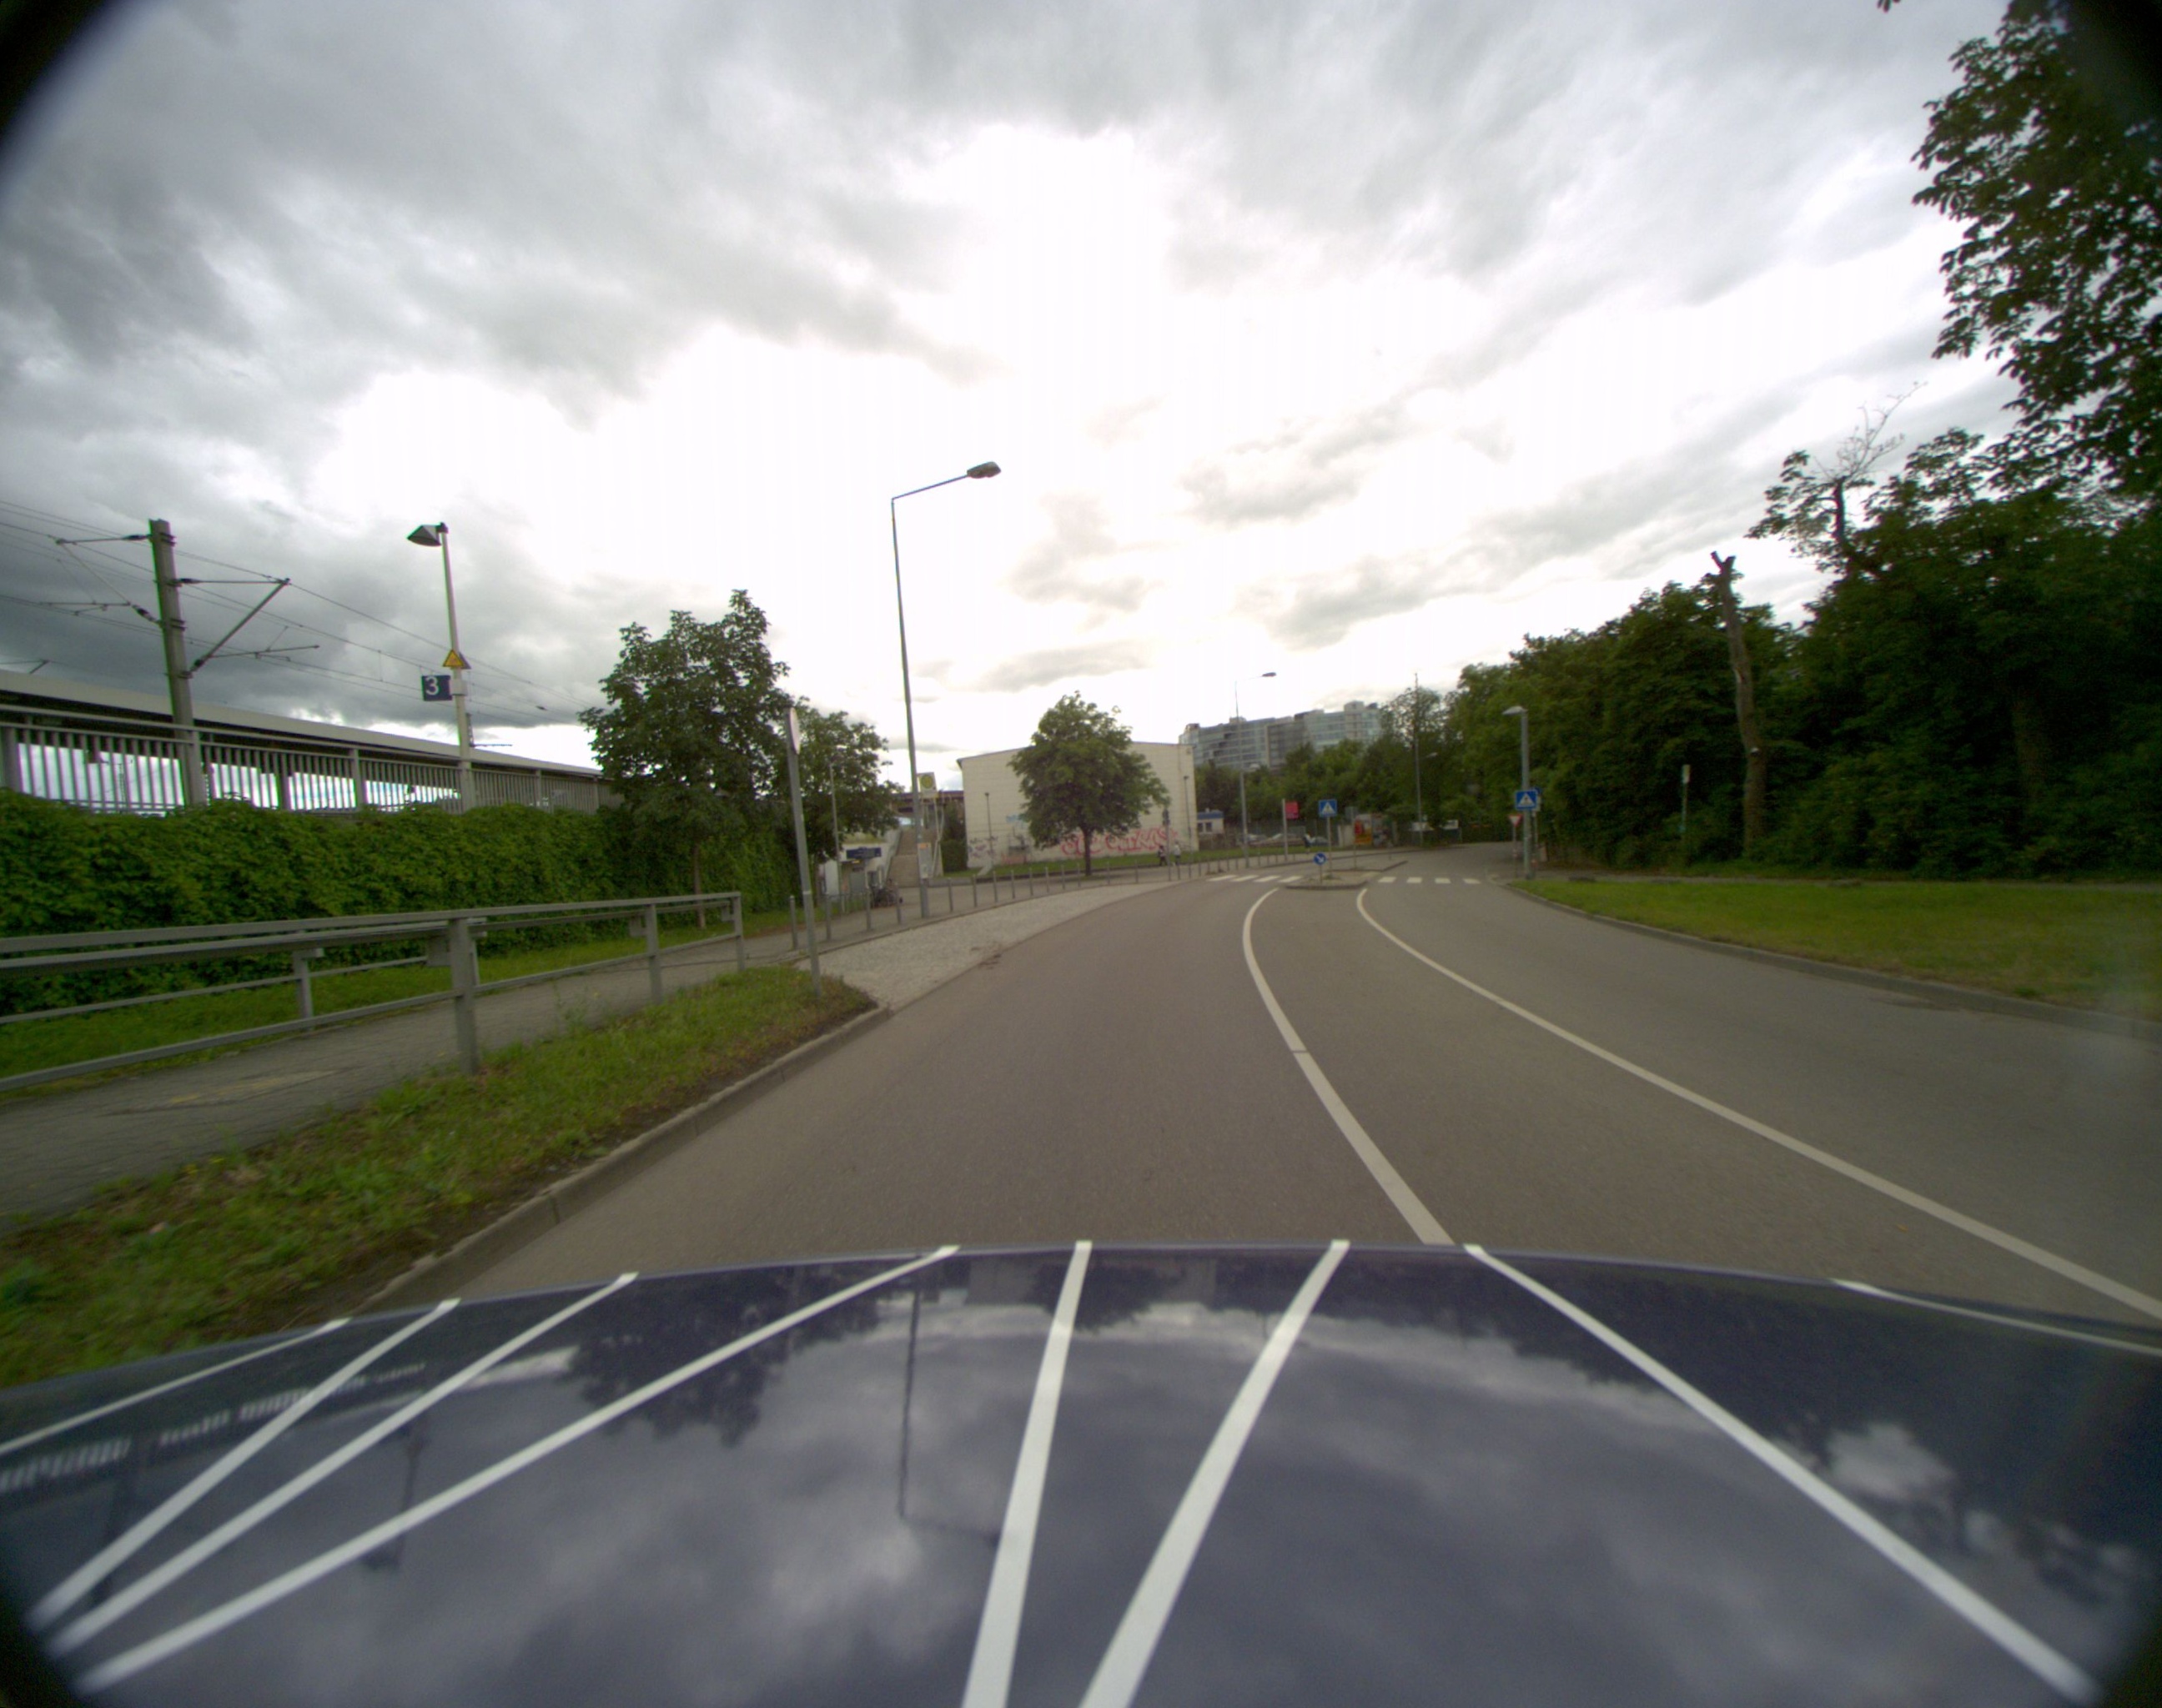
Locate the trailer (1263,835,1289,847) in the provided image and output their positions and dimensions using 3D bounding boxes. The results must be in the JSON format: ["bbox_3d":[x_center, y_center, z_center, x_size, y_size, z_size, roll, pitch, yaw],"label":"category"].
[{"bbox_3d":[21.051,-1.395,82.030,1.849,1.131,2.637,-3,1,-6],"label":"trailer"}]

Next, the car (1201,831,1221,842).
[{"bbox_3d":[16.869,-2.273,98.697,1.338,1.324,3.307,-2,2,-11],"label":"car"}]

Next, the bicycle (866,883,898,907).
[{"bbox_3d":[-8.882,1.852,33.859,0.695,0.984,1.489,-5,0,-42],"label":"bicycle"}]

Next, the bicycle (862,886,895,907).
[{"bbox_3d":[-9.317,1.950,34.912,1.576,0.849,0.464,-5,0,34],"label":"bicycle"}]

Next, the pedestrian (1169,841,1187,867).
[{"bbox_3d":[6.537,-0.027,51.236,0.749,1.693,0.815,-5,3,-20],"label":"pedestrian"}]

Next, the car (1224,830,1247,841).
[{"bbox_3d":[20.212,-2.388,99.629,1.531,1.324,3.678,-2,2,-15],"label":"car"}]

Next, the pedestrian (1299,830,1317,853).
[{"bbox_3d":[17.470,-0.950,58.431,0.941,1.675,0.849,-5,4,-24],"label":"pedestrian"}]

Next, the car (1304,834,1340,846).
[{"bbox_3d":[26.255,-1.539,82.834,3.371,1.245,1.469,0,2,-10],"label":"car"}]

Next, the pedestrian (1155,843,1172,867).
[{"bbox_3d":[5.666,0.057,52.076,0.802,1.575,0.800,-5,3,-20],"label":"pedestrian"}]

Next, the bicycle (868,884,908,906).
[{"bbox_3d":[-9.251,1.963,36.409,1.968,0.860,0.512,-6,-1,31],"label":"bicycle"}]

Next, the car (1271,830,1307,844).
[{"bbox_3d":[24.665,-2.024,90.192,3.811,1.523,1.563,-1,3,-10],"label":"car"}]

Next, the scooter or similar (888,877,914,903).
[{"bbox_3d":[-8.963,1.775,37.863,1.188,1.199,0.469,-5,1,34],"label":"scooter or similar"}]
